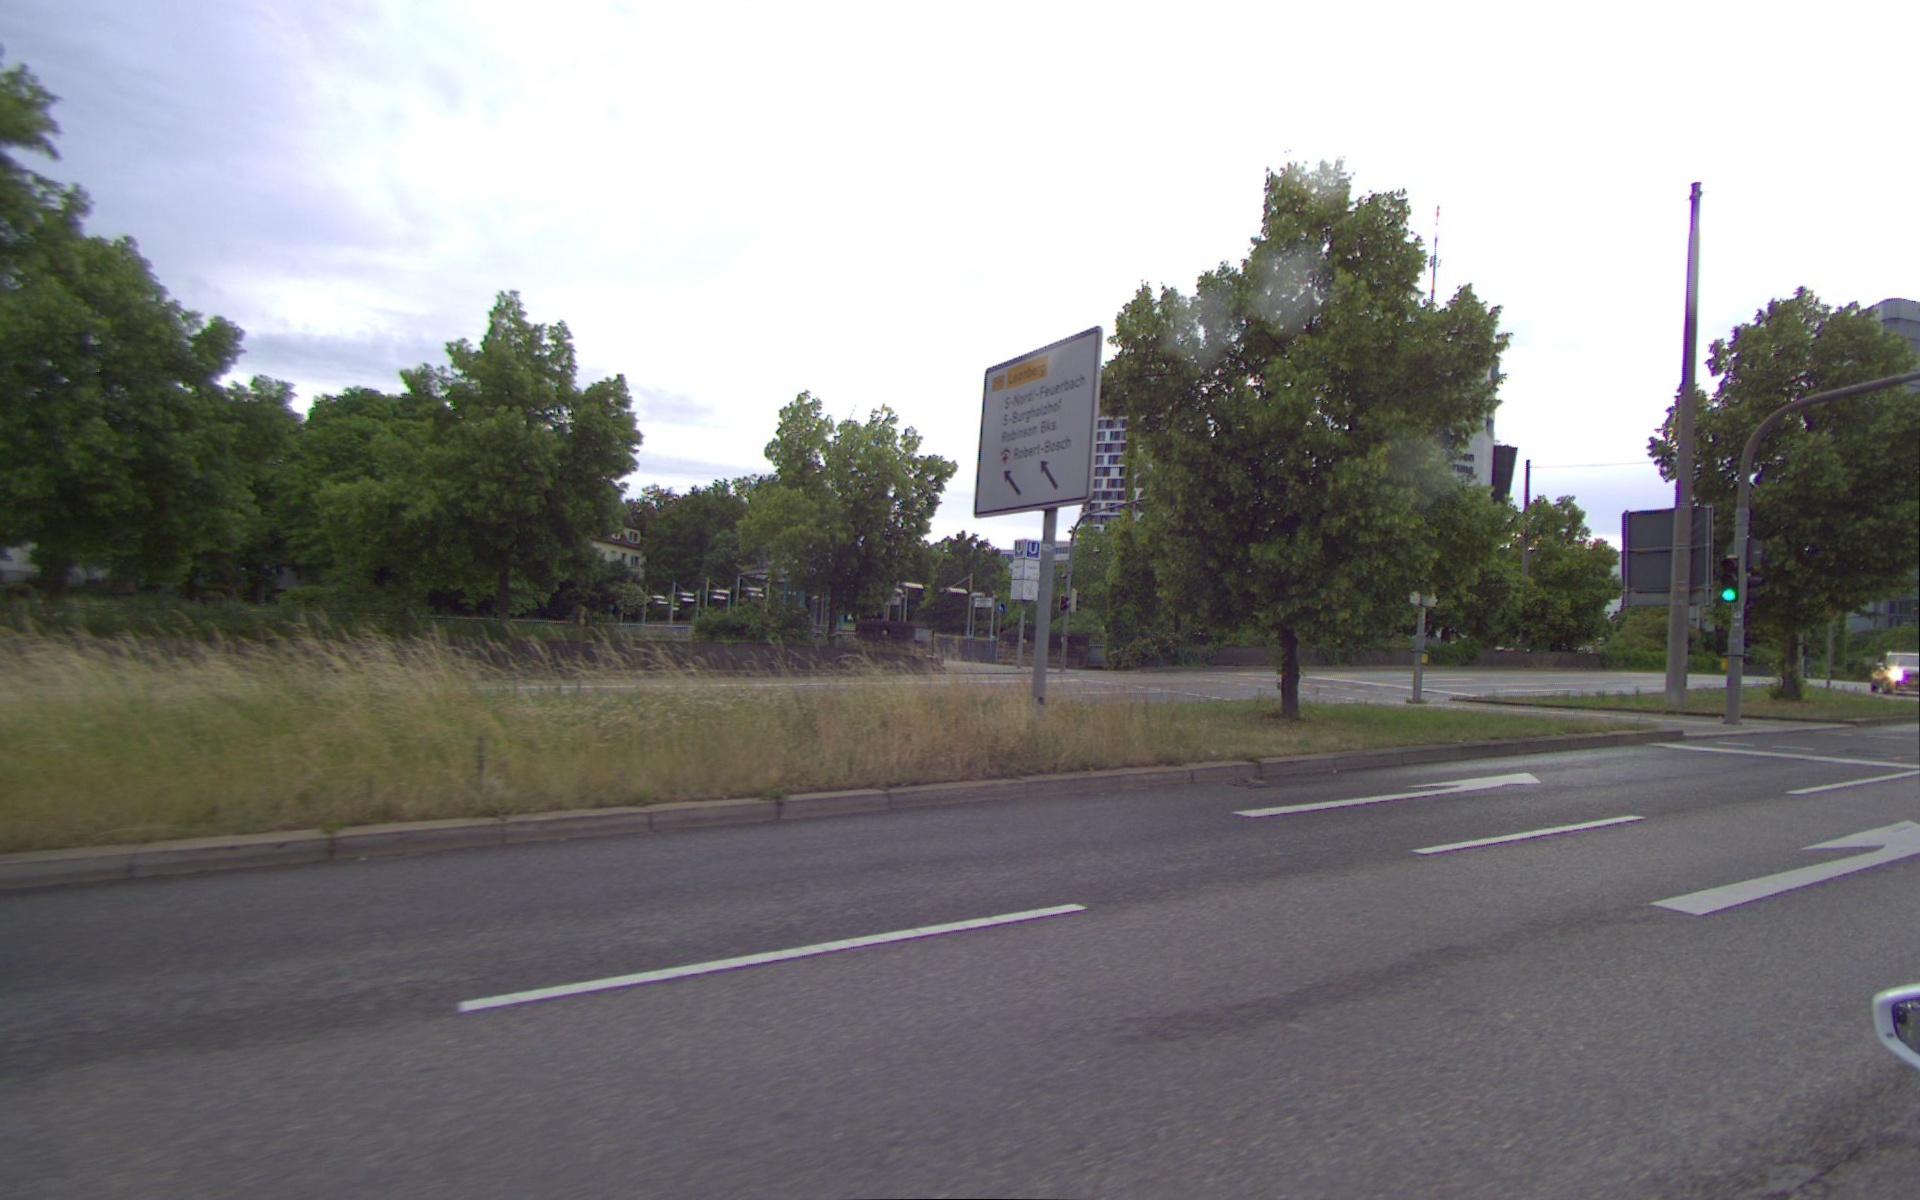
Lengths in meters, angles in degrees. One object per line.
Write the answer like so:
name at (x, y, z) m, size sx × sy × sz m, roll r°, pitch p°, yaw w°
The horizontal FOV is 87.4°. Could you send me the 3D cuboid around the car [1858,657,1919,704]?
car at (32.849, 2.788, 35.124) m, size 1.866 × 1.527 × 3.985 m, roll 0°, pitch -3°, yaw 37°
